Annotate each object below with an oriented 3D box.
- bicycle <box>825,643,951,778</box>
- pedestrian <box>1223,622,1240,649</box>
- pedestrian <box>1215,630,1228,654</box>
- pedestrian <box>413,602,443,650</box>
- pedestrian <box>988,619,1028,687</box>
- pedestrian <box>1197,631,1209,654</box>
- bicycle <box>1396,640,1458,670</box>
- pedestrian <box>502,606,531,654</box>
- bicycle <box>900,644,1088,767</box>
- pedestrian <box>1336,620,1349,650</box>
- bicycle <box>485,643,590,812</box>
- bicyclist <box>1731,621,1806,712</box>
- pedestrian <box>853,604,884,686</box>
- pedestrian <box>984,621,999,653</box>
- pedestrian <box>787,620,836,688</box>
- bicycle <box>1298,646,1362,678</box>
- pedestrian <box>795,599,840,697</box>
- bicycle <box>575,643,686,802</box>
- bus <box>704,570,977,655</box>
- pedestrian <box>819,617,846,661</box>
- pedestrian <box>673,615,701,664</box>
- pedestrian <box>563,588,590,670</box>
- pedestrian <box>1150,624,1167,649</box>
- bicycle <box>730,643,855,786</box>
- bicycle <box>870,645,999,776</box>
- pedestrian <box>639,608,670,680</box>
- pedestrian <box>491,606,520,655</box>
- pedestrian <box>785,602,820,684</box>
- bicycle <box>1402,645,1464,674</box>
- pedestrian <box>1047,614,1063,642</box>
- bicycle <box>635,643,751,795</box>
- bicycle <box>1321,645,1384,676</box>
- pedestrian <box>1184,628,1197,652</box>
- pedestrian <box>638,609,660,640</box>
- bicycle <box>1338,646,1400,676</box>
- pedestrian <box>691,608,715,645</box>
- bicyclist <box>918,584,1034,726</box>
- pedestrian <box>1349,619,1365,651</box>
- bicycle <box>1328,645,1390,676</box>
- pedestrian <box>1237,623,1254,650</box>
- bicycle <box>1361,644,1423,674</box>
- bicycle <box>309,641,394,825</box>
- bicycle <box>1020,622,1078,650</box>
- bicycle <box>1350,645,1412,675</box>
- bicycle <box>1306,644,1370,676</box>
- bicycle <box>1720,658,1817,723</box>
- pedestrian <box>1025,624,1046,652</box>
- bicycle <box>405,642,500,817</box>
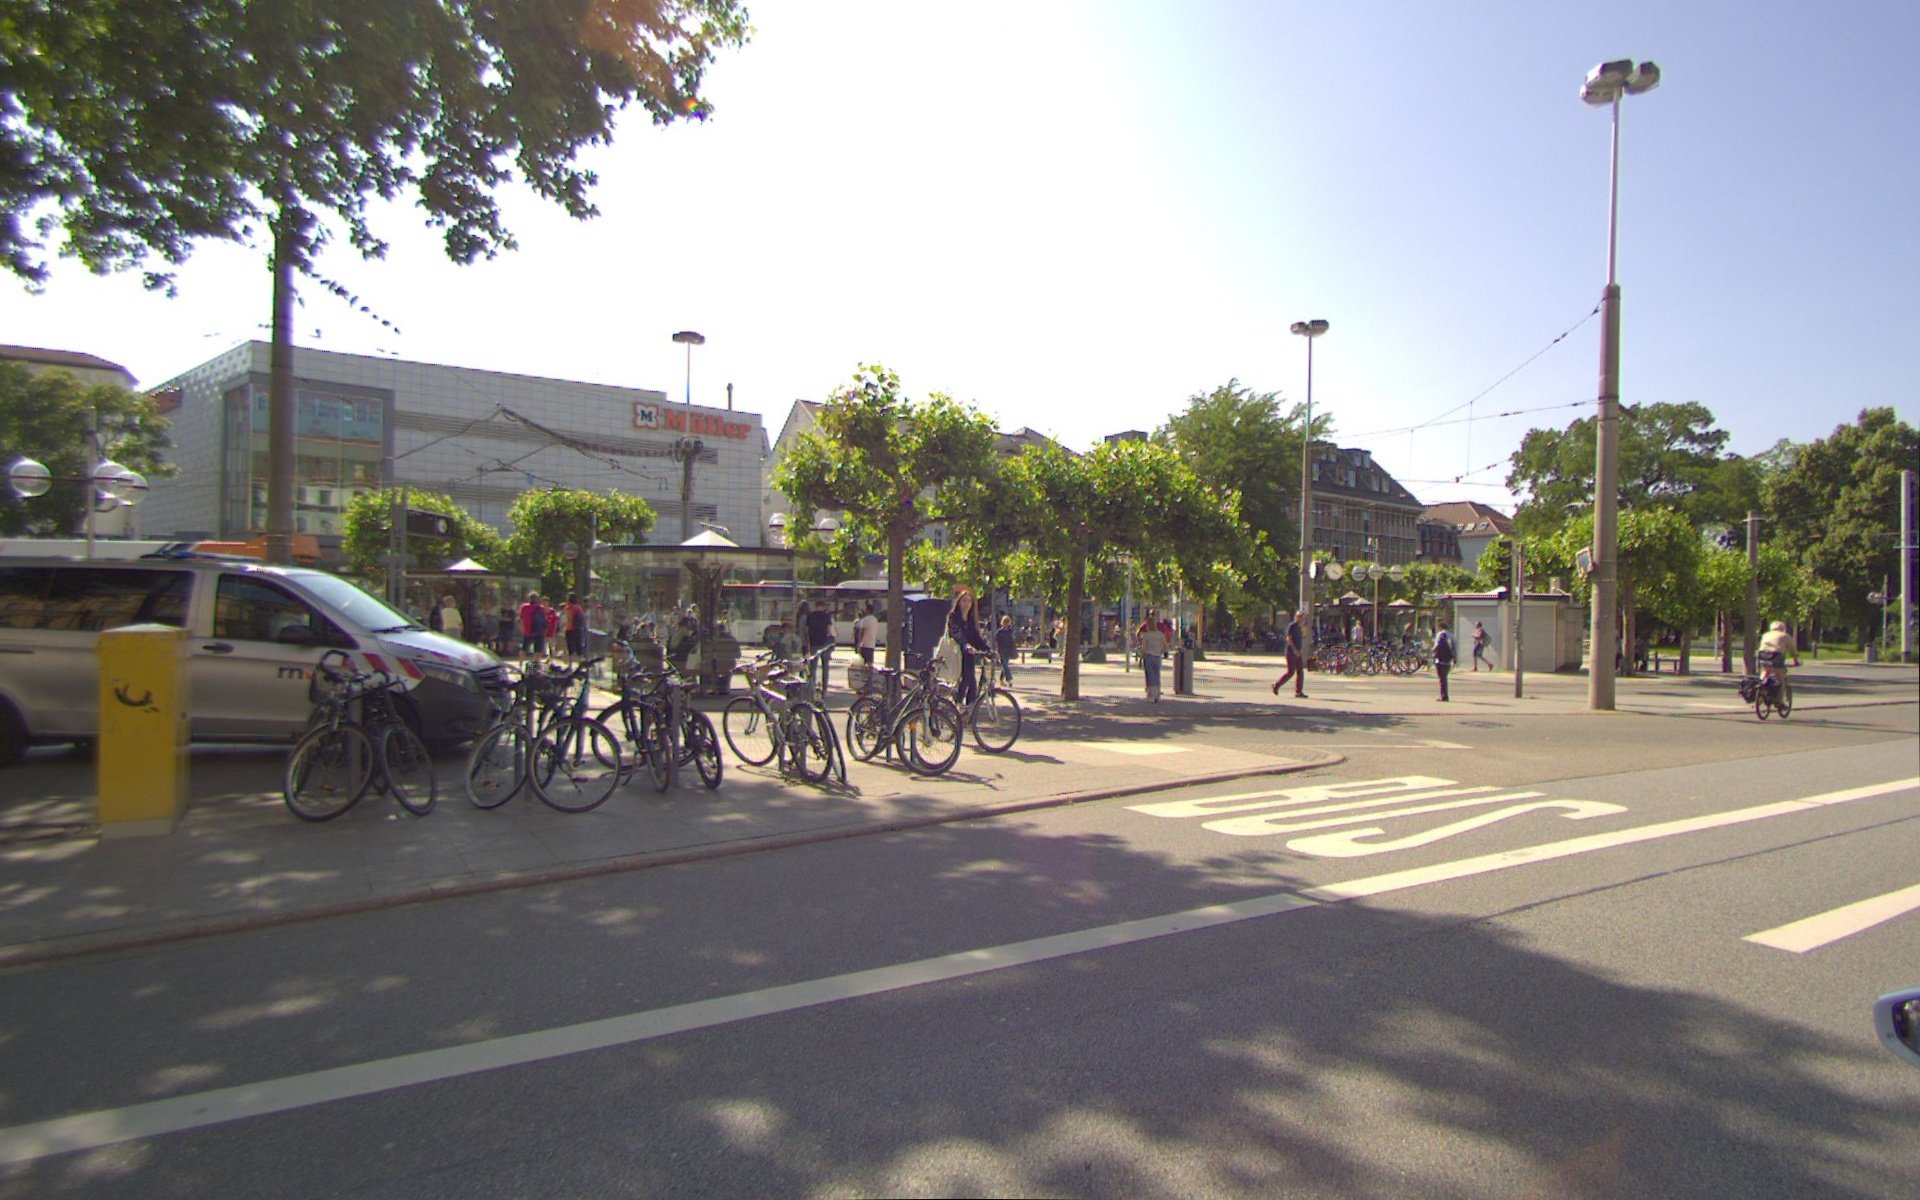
[{"bbox_3d":[-0.762,1.057,10.127,0.477,1.162,1.742,2,0,-32],"label":"bicycle"},{"bbox_3d":[15.028,1.986,55.656,0.670,1.485,0.622,1,-1,-18],"label":"pedestrian"},{"bbox_3d":[14.430,2.323,55.431,0.445,1.279,0.517,0,-2,-15],"label":"pedestrian"},{"bbox_3d":[-17.597,0.875,33.223,0.569,1.569,0.678,-2,-3,35],"label":"pedestrian"},{"bbox_3d":[1.109,1.213,23.172,0.673,1.544,0.620,1,-2,-31],"label":"pedestrian"},{"bbox_3d":[13.381,2.334,55.260,0.445,1.279,0.517,0,-2,-15],"label":"pedestrian"},{"bbox_3d":[16.178,1.899,34.862,0.578,0.881,1.846,1,1,-43],"label":"bicycle"},{"bbox_3d":[-14.879,1.012,33.710,0.569,1.569,0.678,-2,-3,35],"label":"pedestrian"},{"bbox_3d":[0.301,1.109,11.307,0.822,1.036,2.604,2,1,-31],"label":"bicycle"},{"bbox_3d":[22.648,2.080,59.429,0.537,1.771,0.630,-2,-2,37],"label":"pedestrian"},{"bbox_3d":[-3.483,0.971,8.204,0.477,1.162,1.742,2,0,-32],"label":"bicycle"},{"bbox_3d":[14.975,1.204,18.610,0.892,1.643,0.813,1,-1,-31],"label":"bicyclist"},{"bbox_3d":[-1.967,0.970,21.668,0.503,1.741,0.479,1,-2,-31],"label":"pedestrian"},{"bbox_3d":[1.492,1.761,47.761,0.552,1.484,0.586,0,-2,-12],"label":"pedestrian"},{"bbox_3d":[-3.084,1.114,20.882,0.787,1.389,0.681,-1,-2,15],"label":"pedestrian"},{"bbox_3d":[11.873,1.979,32.263,0.543,0.868,1.846,1,1,-43],"label":"bicycle"},{"bbox_3d":[-2.703,0.904,19.070,0.612,1.818,0.681,-1,-2,17],"label":"pedestrian"},{"bbox_3d":[-2.883,0.989,8.685,0.477,1.162,1.742,2,0,-32],"label":"bicycle"},{"bbox_3d":[-5.541,0.589,47.076,12.244,3.465,3.059,2,1,-13],"label":"bus"},{"bbox_3d":[-4.293,1.313,33.727,0.671,1.484,0.621,-3,-3,43],"label":"pedestrian"},{"bbox_3d":[-9.114,1.317,33.506,0.615,1.619,0.678,-2,-3,37],"label":"pedestrian"},{"bbox_3d":[-8.566,0.644,22.431,0.480,1.801,0.522,1,-2,-32],"label":"pedestrian"},{"bbox_3d":[10.323,1.881,52.231,0.573,1.279,0.620,0,-2,-22],"label":"pedestrian"},{"bbox_3d":[-1.640,1.028,9.587,0.477,1.162,1.849,2,0,-32],"label":"bicycle"},{"bbox_3d":[-0.305,1.079,10.355,0.477,1.162,1.742,2,0,-32],"label":"bicycle"},{"bbox_3d":[-6.437,0.925,21.180,0.545,1.484,0.589,0,-2,-10],"label":"pedestrian"},{"bbox_3d":[-14.860,0.994,32.829,0.569,1.569,0.678,-2,-3,35],"label":"pedestrian"},{"bbox_3d":[-3.602,0.982,22.960,0.598,1.839,0.573,1,-2,-32],"label":"pedestrian"},{"bbox_3d":[16.594,2.075,35.272,0.578,0.881,1.846,1,1,-43],"label":"bicycle"},{"bbox_3d":[5.125,1.511,54.434,0.621,1.484,0.577,1,-3,-44],"label":"pedestrian"},{"bbox_3d":[-2.431,1.003,9.006,0.477,1.162,1.742,2,0,-32],"label":"bicycle"},{"bbox_3d":[12.856,1.974,32.959,0.543,0.868,1.846,1,1,-43],"label":"bicycle"},{"bbox_3d":[12.631,2.192,55.045,0.445,1.279,0.517,0,-2,-15],"label":"pedestrian"},{"bbox_3d":[-15.951,1.241,51.541,0.669,1.569,0.846,-2,-2,32],"label":"pedestrian"},{"bbox_3d":[13.704,2.031,33.702,0.543,0.868,1.846,1,1,-43],"label":"bicycle"},{"bbox_3d":[-10.310,1.069,40.296,0.613,1.484,0.680,-2,-2,25],"label":"pedestrian"},{"bbox_3d":[0.167,0.595,11.558,0.822,1.518,1.151,2,1,-30],"label":"bicyclist"},{"bbox_3d":[18.262,1.611,46.182,0.667,1.484,0.625,-2,-2,22],"label":"pedestrian"},{"bbox_3d":[13.227,2.000,33.353,0.543,0.868,1.846,1,1,-43],"label":"bicycle"},{"bbox_3d":[15.804,2.019,55.569,0.670,1.485,0.622,1,-1,-18],"label":"pedestrian"},{"bbox_3d":[14.846,2.013,34.534,0.578,0.881,1.846,1,1,-43],"label":"bicycle"},{"bbox_3d":[-4.624,0.932,7.607,0.477,1.162,1.742,2,0,-32],"label":"bicycle"},{"bbox_3d":[4.964,2.001,55.940,3.092,1.397,0.821,2,1,-1],"label":"bicycle"},{"bbox_3d":[14.215,2.020,33.966,0.543,0.868,1.846,1,1,-43],"label":"bicycle"},{"bbox_3d":[12.311,1.945,32.735,0.579,0.883,1.846,1,1,-43],"label":"bicycle"},{"bbox_3d":[15.004,1.655,18.627,1.853,1.135,0.813,2,-3,-32],"label":"bicycle"},{"bbox_3d":[4.023,2.013,53.541,0.735,1.484,0.782,1,-3,-36],"label":"pedestrian"},{"bbox_3d":[-4.054,0.951,7.971,0.477,1.162,1.742,2,0,-32],"label":"bicycle"}]
